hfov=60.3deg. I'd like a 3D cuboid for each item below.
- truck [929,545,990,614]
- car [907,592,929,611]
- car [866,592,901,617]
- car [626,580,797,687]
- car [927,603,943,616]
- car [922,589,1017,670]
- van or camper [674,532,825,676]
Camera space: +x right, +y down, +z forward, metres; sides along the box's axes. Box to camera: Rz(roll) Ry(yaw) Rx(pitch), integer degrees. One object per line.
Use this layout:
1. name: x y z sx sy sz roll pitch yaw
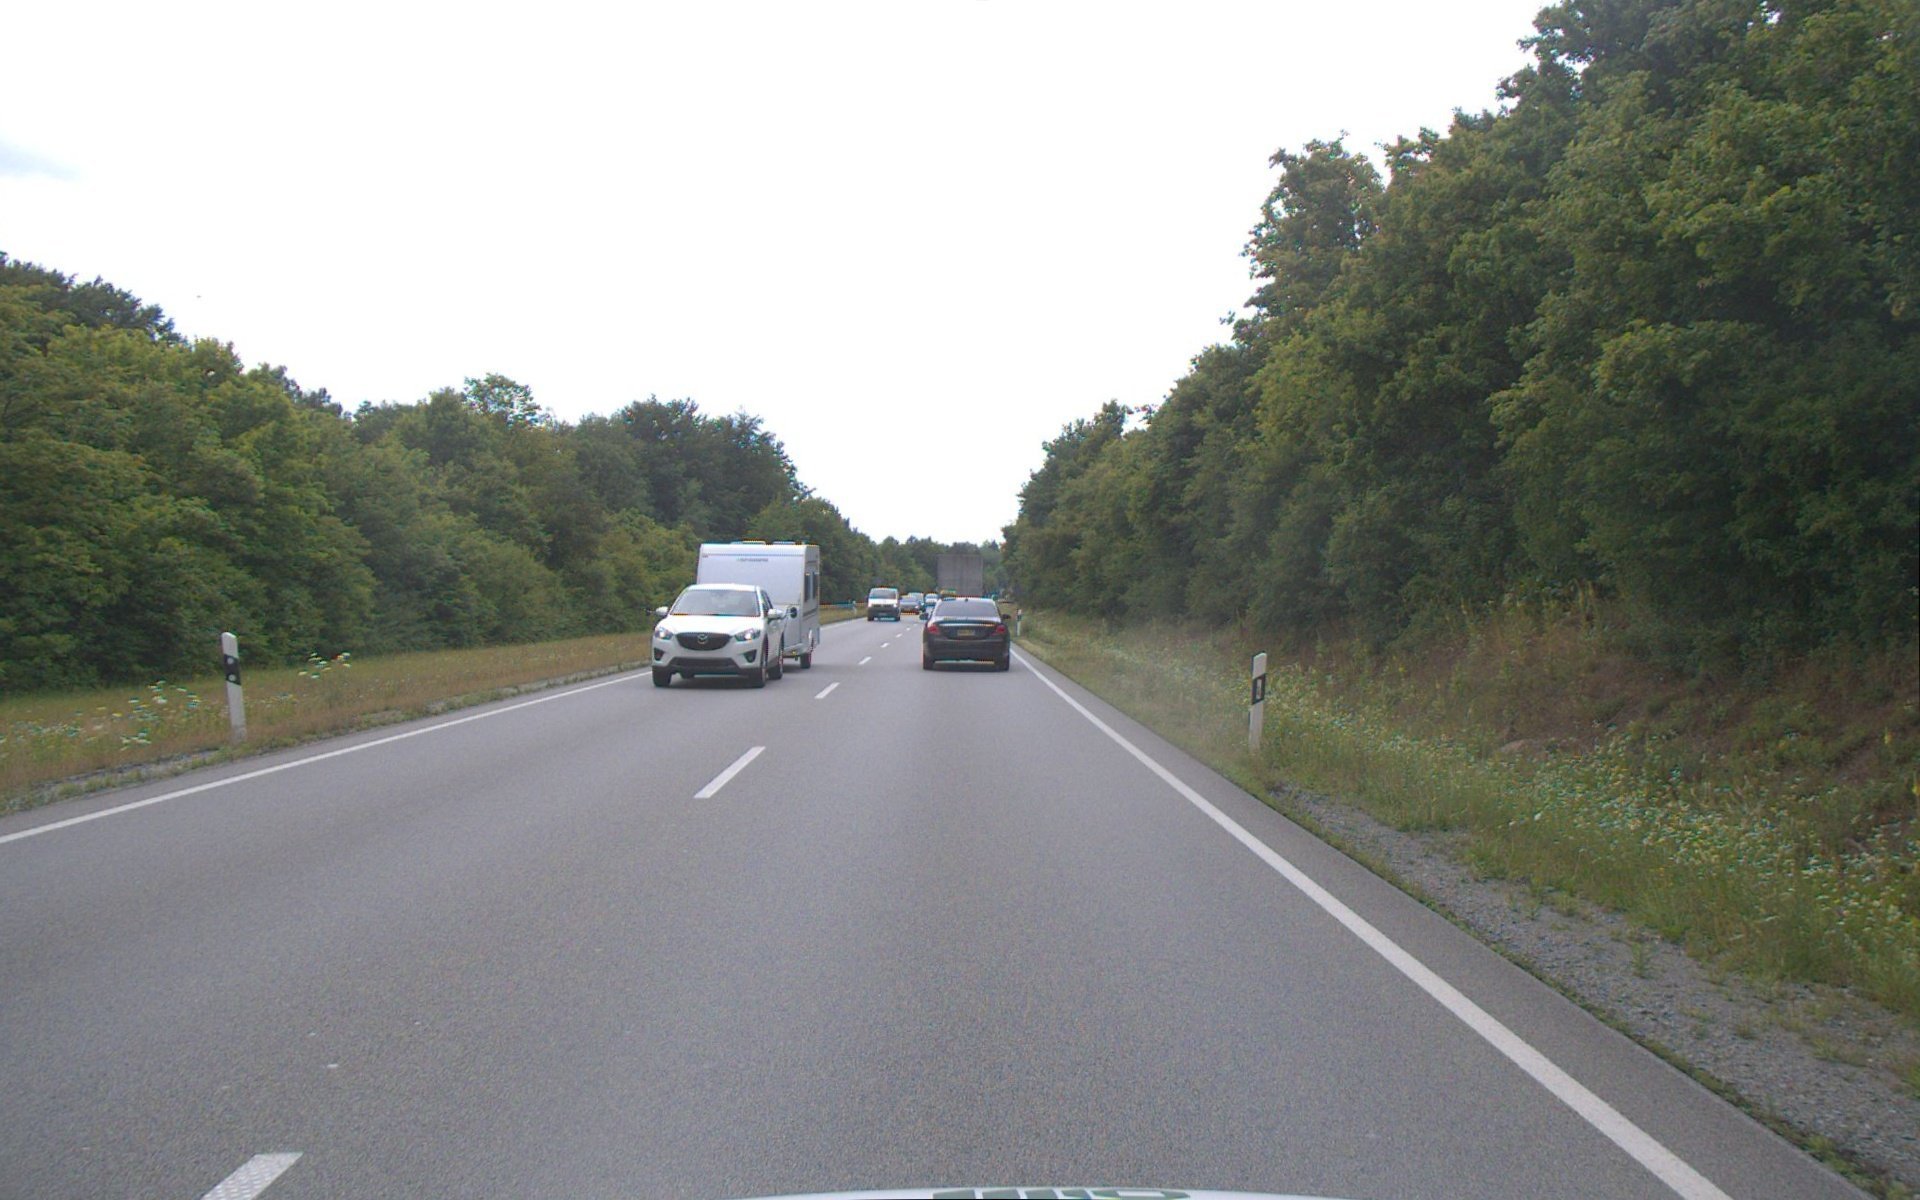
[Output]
1. truck: 0.043 -1.092 95.565 3.213 3.675 11.400 1 0 1
2. car: -3.412 0.117 133.787 1.654 1.505 4.455 1 0 0
3. car: -4.566 0.244 99.553 1.953 1.445 3.999 1 0 -1
4. car: -4.100 0.520 28.089 2.232 1.631 4.690 1 0 -1
5. car: -3.095 1.144 204.539 1.837 1.587 3.755 1 0 0
6. car: 0.142 0.594 34.922 1.756 1.579 3.997 1 0 -3
7. van or camper: -4.129 0.081 33.629 2.331 2.620 6.278 1 0 -1
